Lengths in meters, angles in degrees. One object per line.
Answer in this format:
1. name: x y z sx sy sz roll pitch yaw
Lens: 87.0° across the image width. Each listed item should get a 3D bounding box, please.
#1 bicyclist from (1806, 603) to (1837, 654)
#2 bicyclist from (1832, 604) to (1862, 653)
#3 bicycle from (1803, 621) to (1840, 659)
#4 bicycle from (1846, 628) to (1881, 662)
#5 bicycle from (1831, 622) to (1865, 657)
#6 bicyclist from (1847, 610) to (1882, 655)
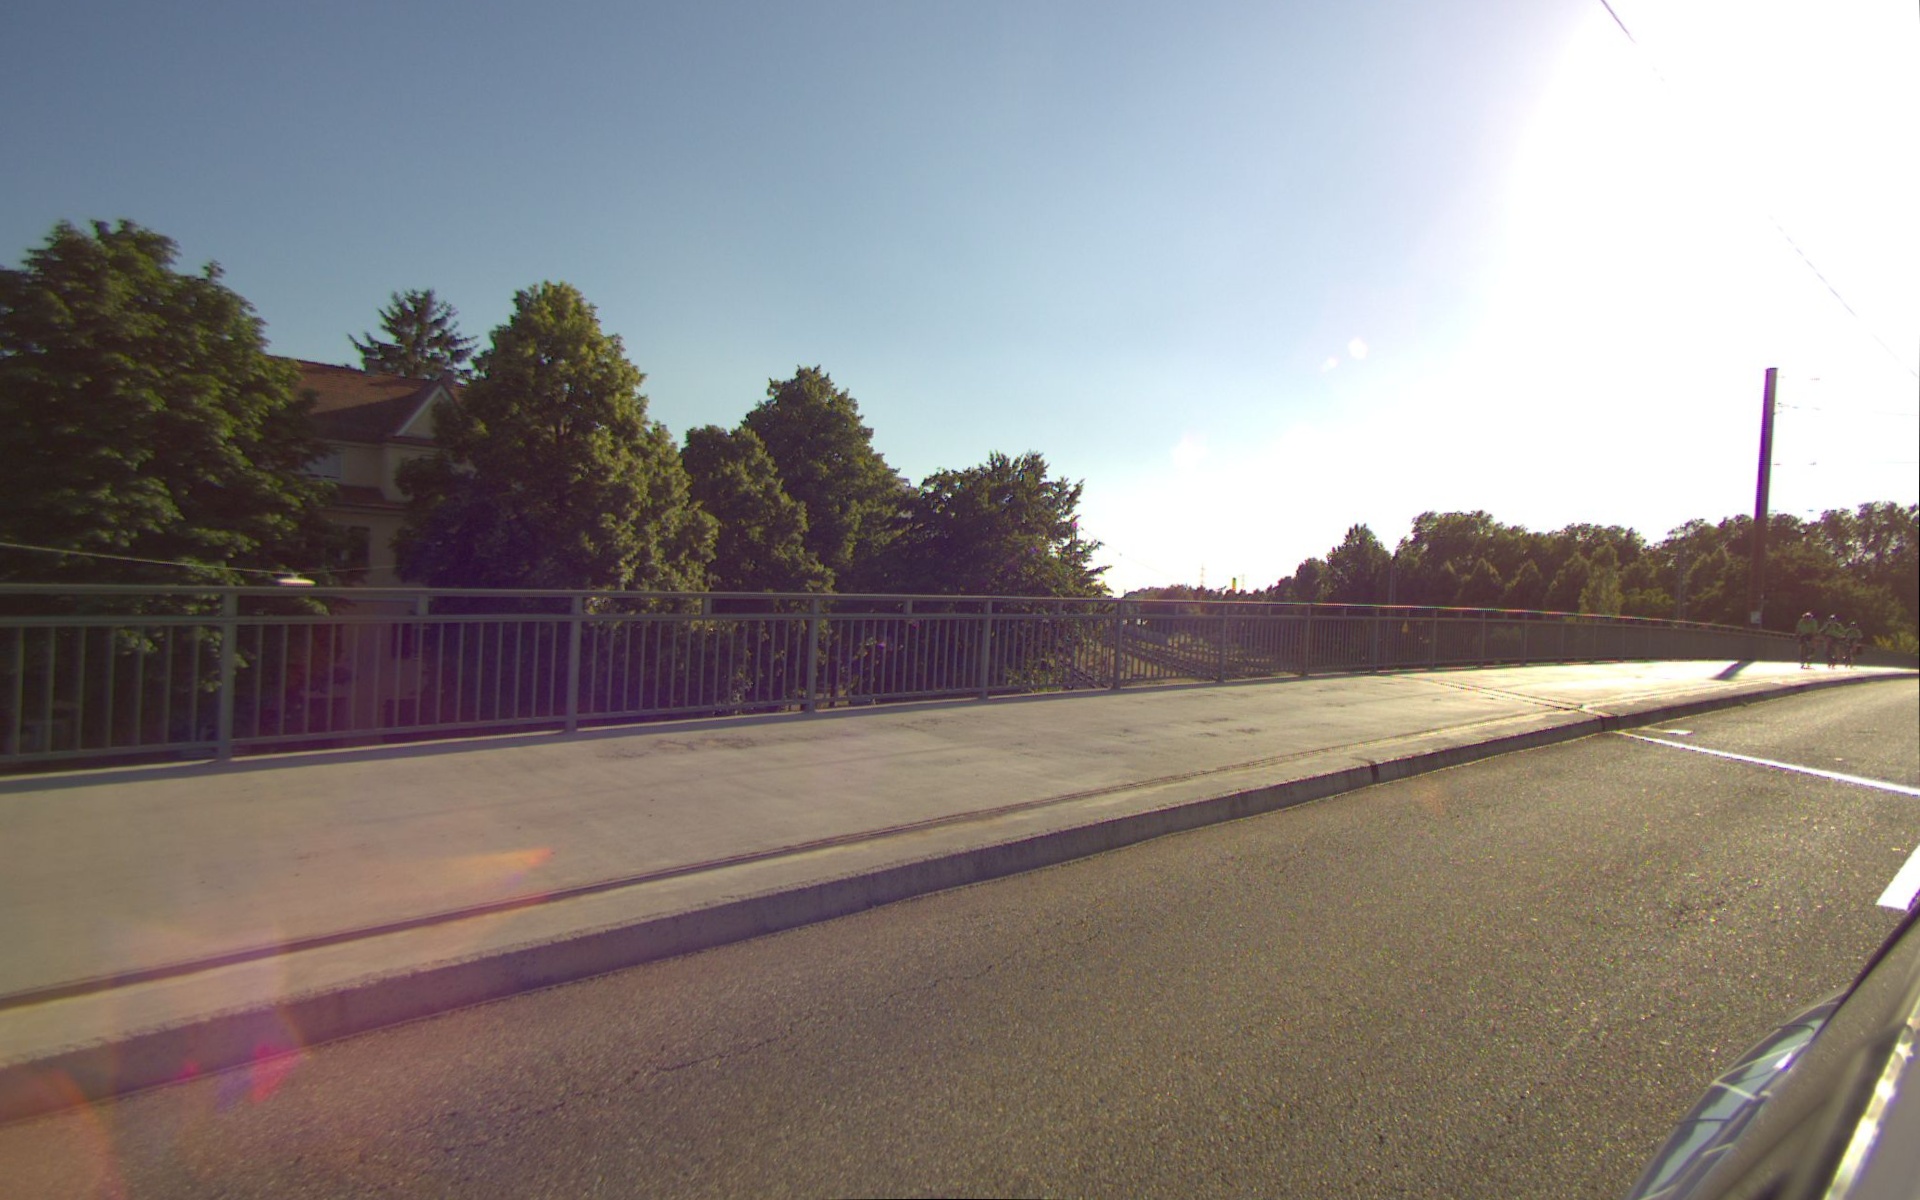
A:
1. bicyclist: 26.692 0.878 31.357 0.989 1.527 0.626 3 -1 -43
2. bicyclist: 29.794 0.967 33.997 0.914 1.613 0.626 2 -1 -41
3. bicycle: 26.712 1.240 31.370 2.221 1.137 0.626 3 -1 -43
4. bicycle: 32.671 1.633 36.584 2.177 1.137 0.684 4 -2 -42
5. bicycle: 29.819 1.319 33.975 2.006 1.137 0.626 2 -1 -42
6. bicyclist: 32.712 1.178 36.602 0.881 1.582 0.813 4 -2 -41
